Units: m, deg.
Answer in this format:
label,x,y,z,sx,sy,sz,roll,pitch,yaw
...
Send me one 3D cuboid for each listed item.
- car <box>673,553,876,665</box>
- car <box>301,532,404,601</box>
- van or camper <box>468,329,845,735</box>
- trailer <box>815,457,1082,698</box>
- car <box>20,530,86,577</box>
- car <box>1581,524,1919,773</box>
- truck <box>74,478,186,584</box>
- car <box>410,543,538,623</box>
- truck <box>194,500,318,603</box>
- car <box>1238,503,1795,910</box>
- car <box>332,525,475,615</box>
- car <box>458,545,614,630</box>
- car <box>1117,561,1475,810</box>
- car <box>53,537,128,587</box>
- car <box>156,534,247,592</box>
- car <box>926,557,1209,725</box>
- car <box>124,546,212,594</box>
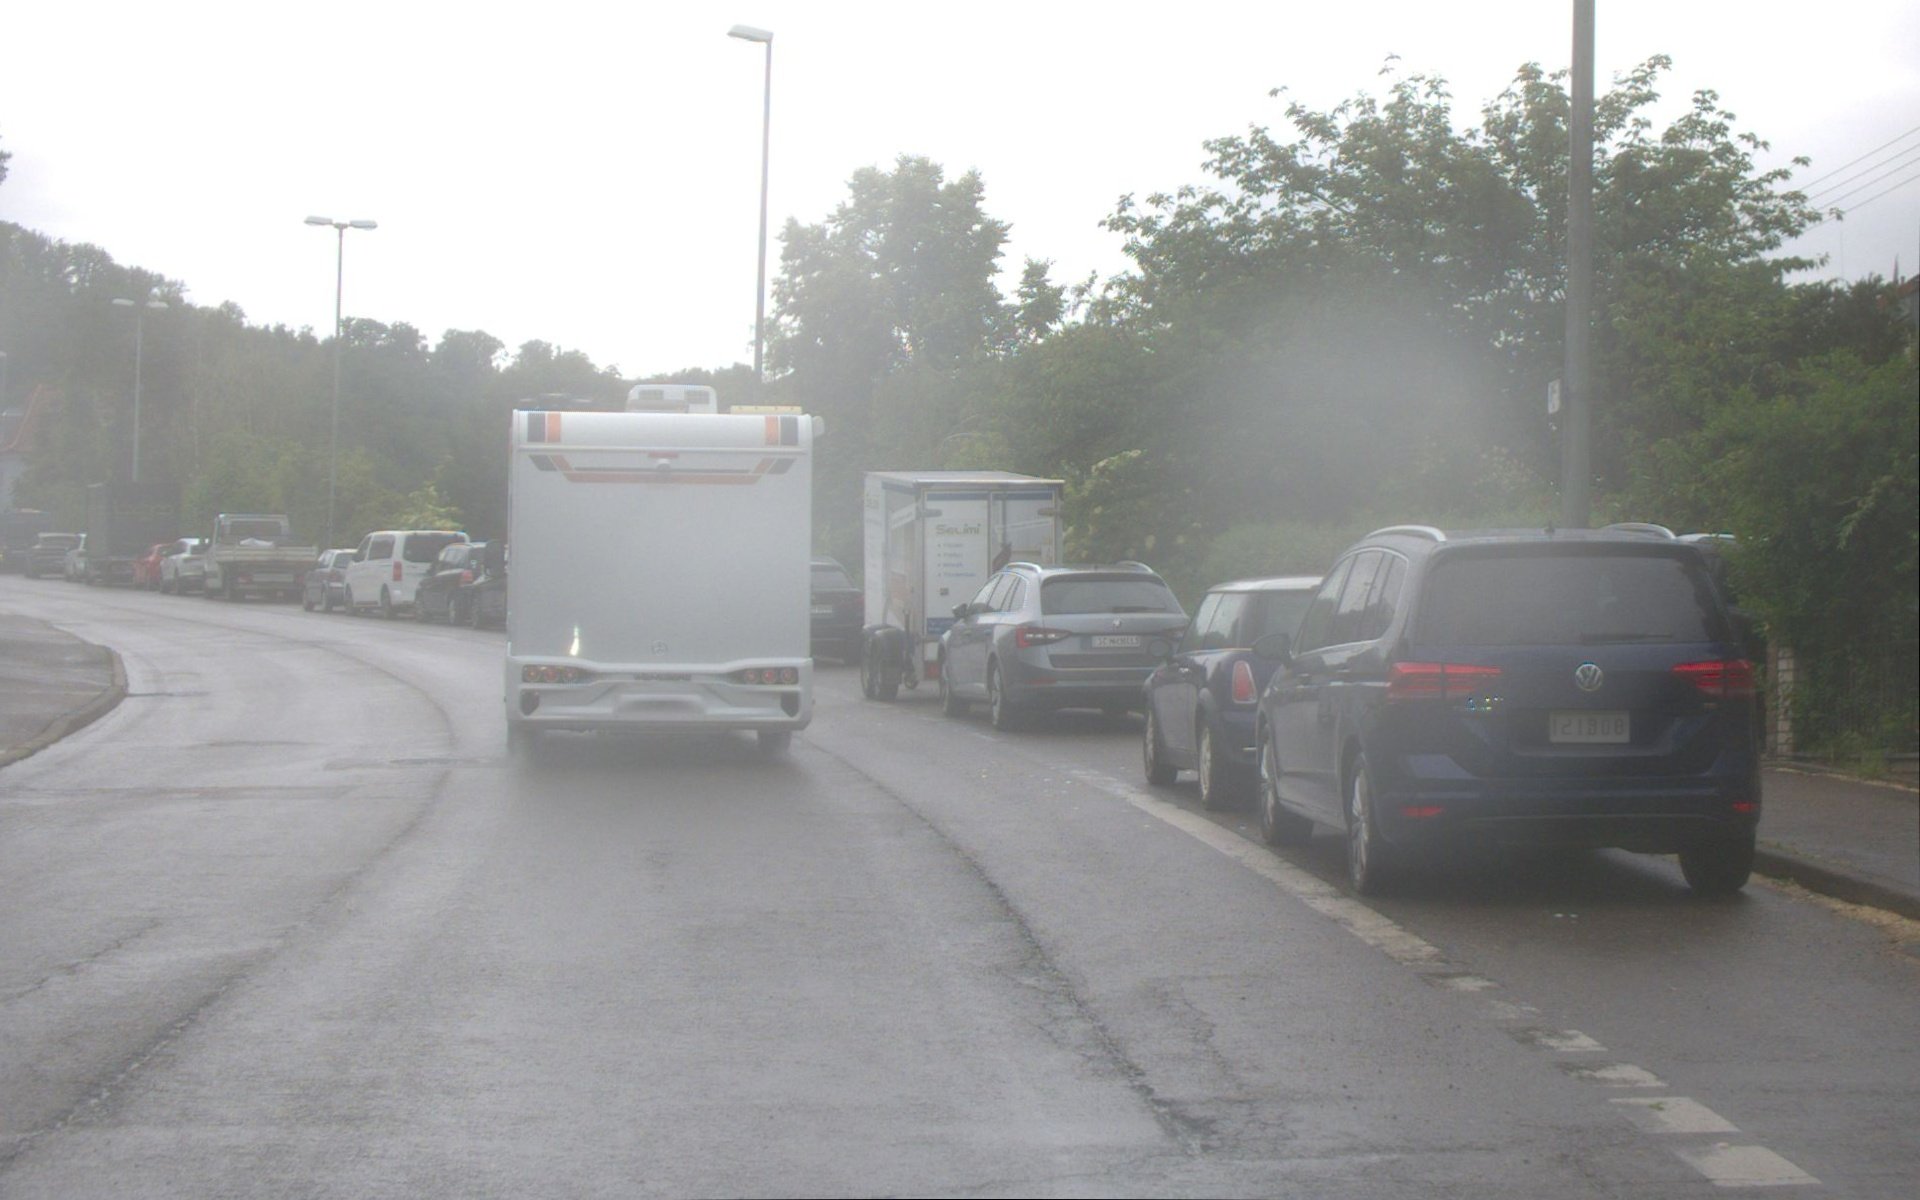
label,x,y,z,sx,sy,sz,roll,pitch,yaw
car,-2.647,0.091,47.883,1.792,1.454,4.790,1,1,-16
car,-14.128,-0.781,79.807,1.647,1.558,3.964,1,0,-20
van or camper,-2.576,-0.430,27.976,2.615,2.843,6.032,2,-1,-7
trailer,-0.219,-0.251,37.840,1.948,2.448,5.436,1,0,-11
car,-33.699,-1.737,127.629,1.936,1.666,4.696,1,1,-20
car,7.039,0.428,26.506,4.003,1.682,1.778,5,0,-3
truck,-27.257,-2.223,112.637,2.435,3.324,7.967,1,0,-22
car,-9.833,-0.356,69.368,1.644,1.535,4.355,1,0,-21
truck,-18.881,-1.291,91.937,2.238,2.622,6.540,1,0,-20
car,2.531,0.433,16.737,1.829,1.695,4.461,1,0,-2
car,-12.134,-0.658,74.716,1.848,1.875,4.912,1,0,-24
car,-7.933,-0.250,64.007,1.815,1.501,4.725,1,0,-21
car,2.072,0.490,22.152,1.633,1.452,3.701,1,0,-5
car,-30.525,-1.343,120.599,1.845,1.678,5.640,1,0,-22
car,-21.739,-1.071,98.393,1.759,1.599,4.668,1,0,-22
car,0.903,0.331,31.665,1.747,1.419,4.705,1,0,-9
car,-24.420,-0.930,105.849,1.831,1.433,4.988,1,0,-22
